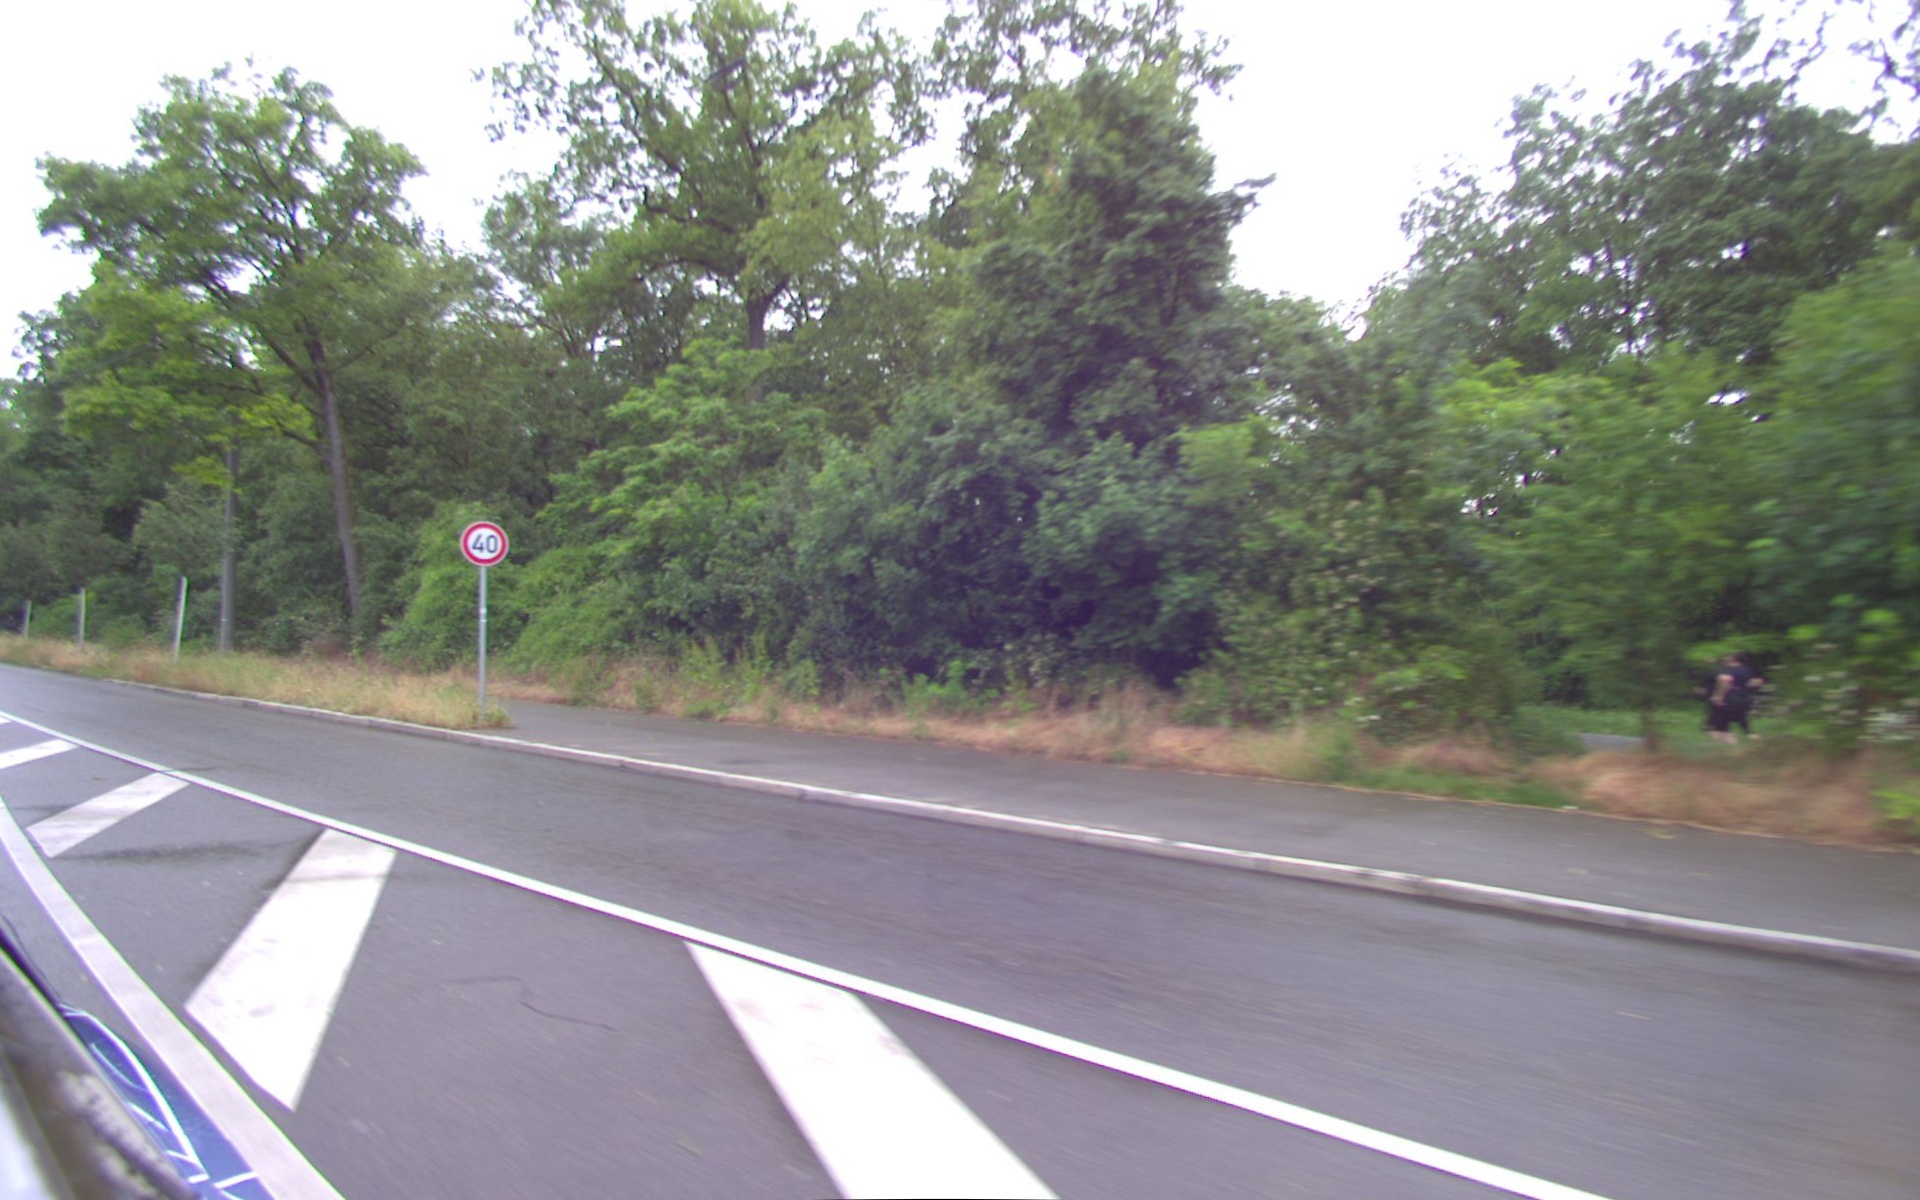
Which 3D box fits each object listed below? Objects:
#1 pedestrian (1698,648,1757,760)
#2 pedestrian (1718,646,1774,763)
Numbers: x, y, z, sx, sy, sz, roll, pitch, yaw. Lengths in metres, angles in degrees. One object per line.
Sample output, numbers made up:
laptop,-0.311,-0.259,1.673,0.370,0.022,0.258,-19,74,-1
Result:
pedestrian,10.739,1.435,14.165,0.608,1.514,0.460,-1,-2,41
pedestrian,11.475,1.499,14.774,0.608,1.645,0.460,-1,-2,41
